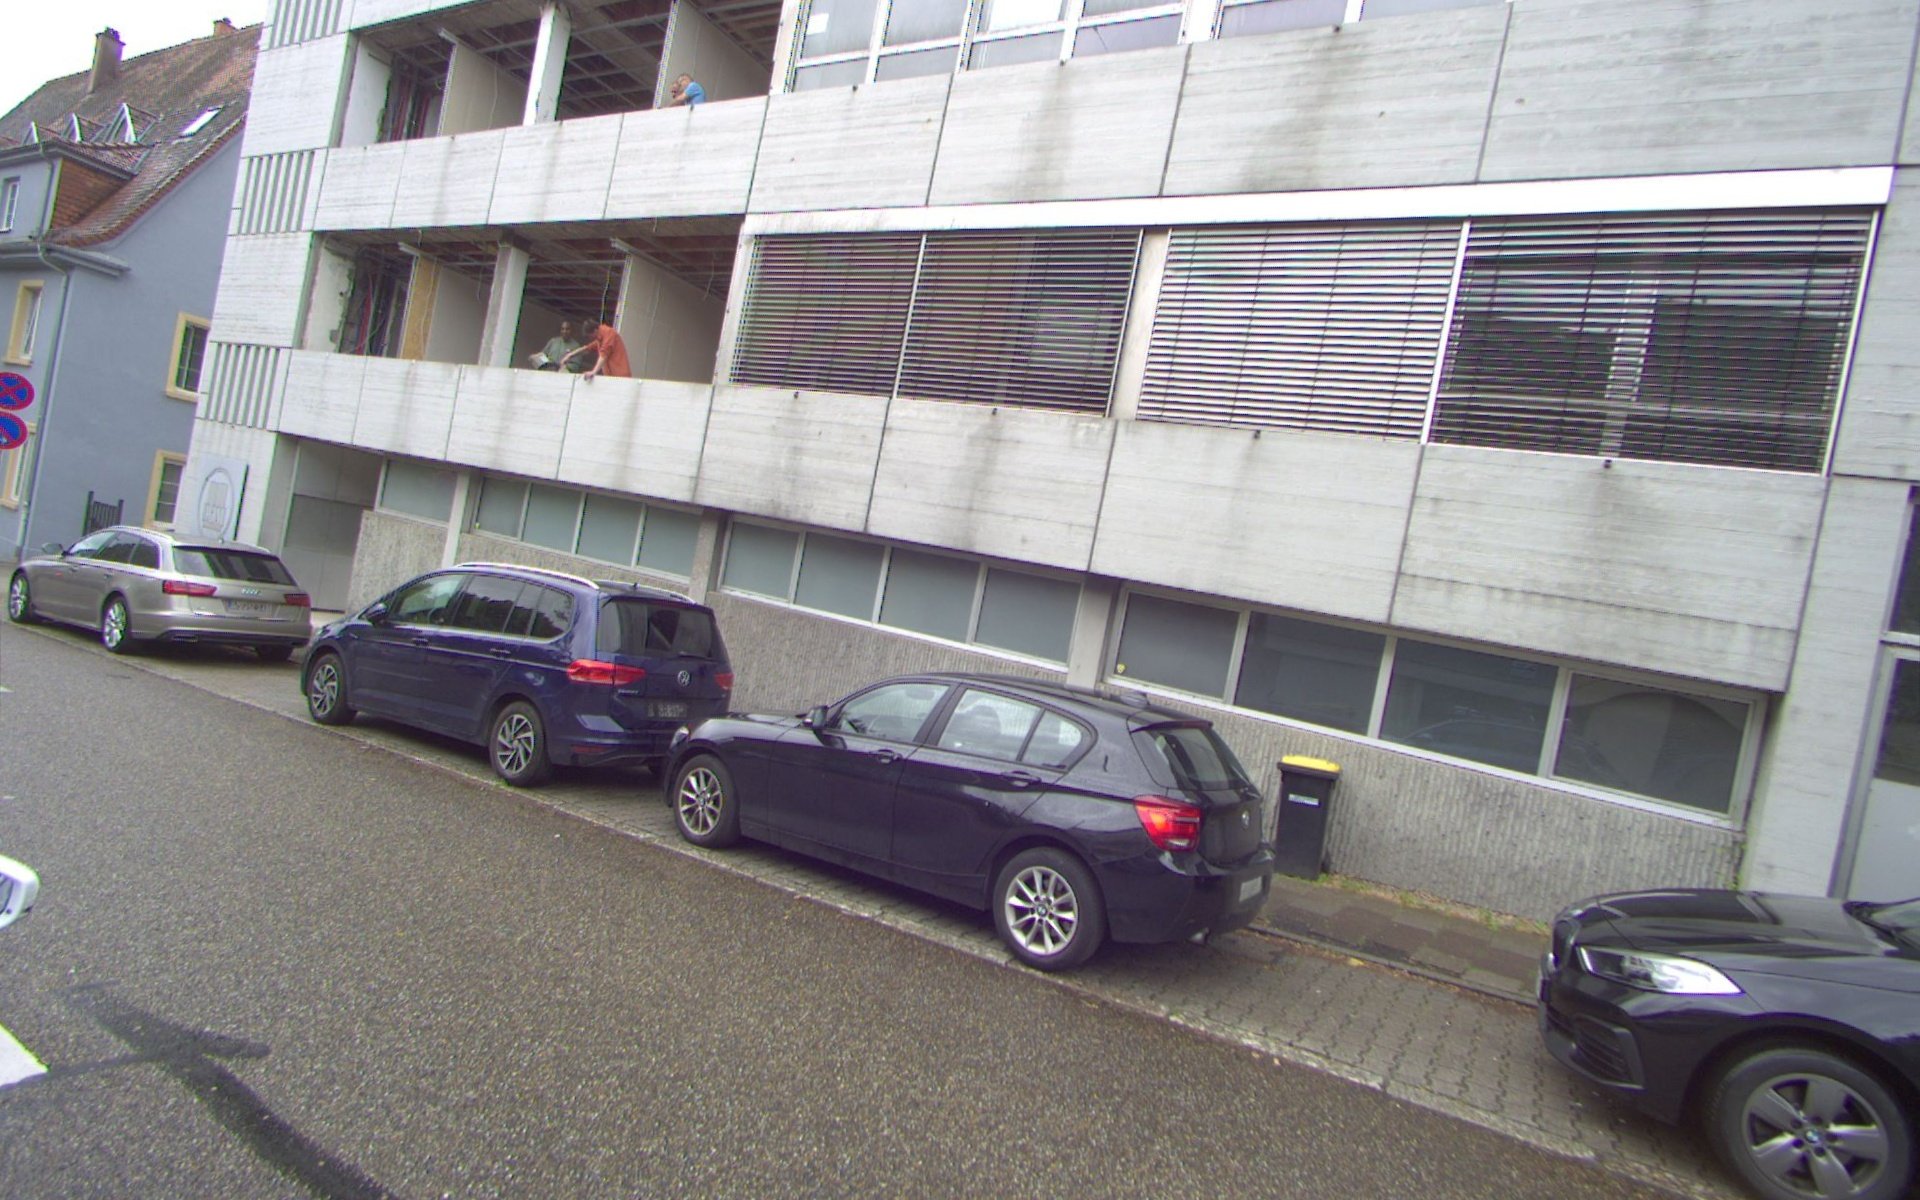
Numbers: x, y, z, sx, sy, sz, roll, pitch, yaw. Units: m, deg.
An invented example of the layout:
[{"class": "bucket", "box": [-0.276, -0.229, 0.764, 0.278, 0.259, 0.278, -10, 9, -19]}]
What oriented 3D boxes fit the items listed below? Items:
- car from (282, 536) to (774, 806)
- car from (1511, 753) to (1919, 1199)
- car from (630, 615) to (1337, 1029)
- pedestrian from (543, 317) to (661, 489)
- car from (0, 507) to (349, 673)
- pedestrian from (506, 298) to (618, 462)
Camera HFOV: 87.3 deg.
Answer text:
[{"class": "car", "box": [-3.872, 0.519, 8.862, 4.090, 1.618, 1.732, 7, -1, 30]}, {"class": "car", "box": [4.652, 1.716, 3.802, 4.367, 1.451, 1.999, 7, -2, 30]}, {"class": "car", "box": [-0.006, 1.122, 6.523, 4.183, 1.465, 1.750, 7, -1, 34]}, {"class": "pedestrian", "box": [-4.771, -2.593, 13.436, 0.847, 2.036, 0.909, 6, -2, 31]}, {"class": "car", "box": [-10.150, -0.149, 12.884, 4.449, 1.465, 1.967, 7, -1, 30]}, {"class": "pedestrian", "box": [-5.597, -3.061, 14.174, 0.847, 2.036, 0.909, 6, -2, 31]}]
